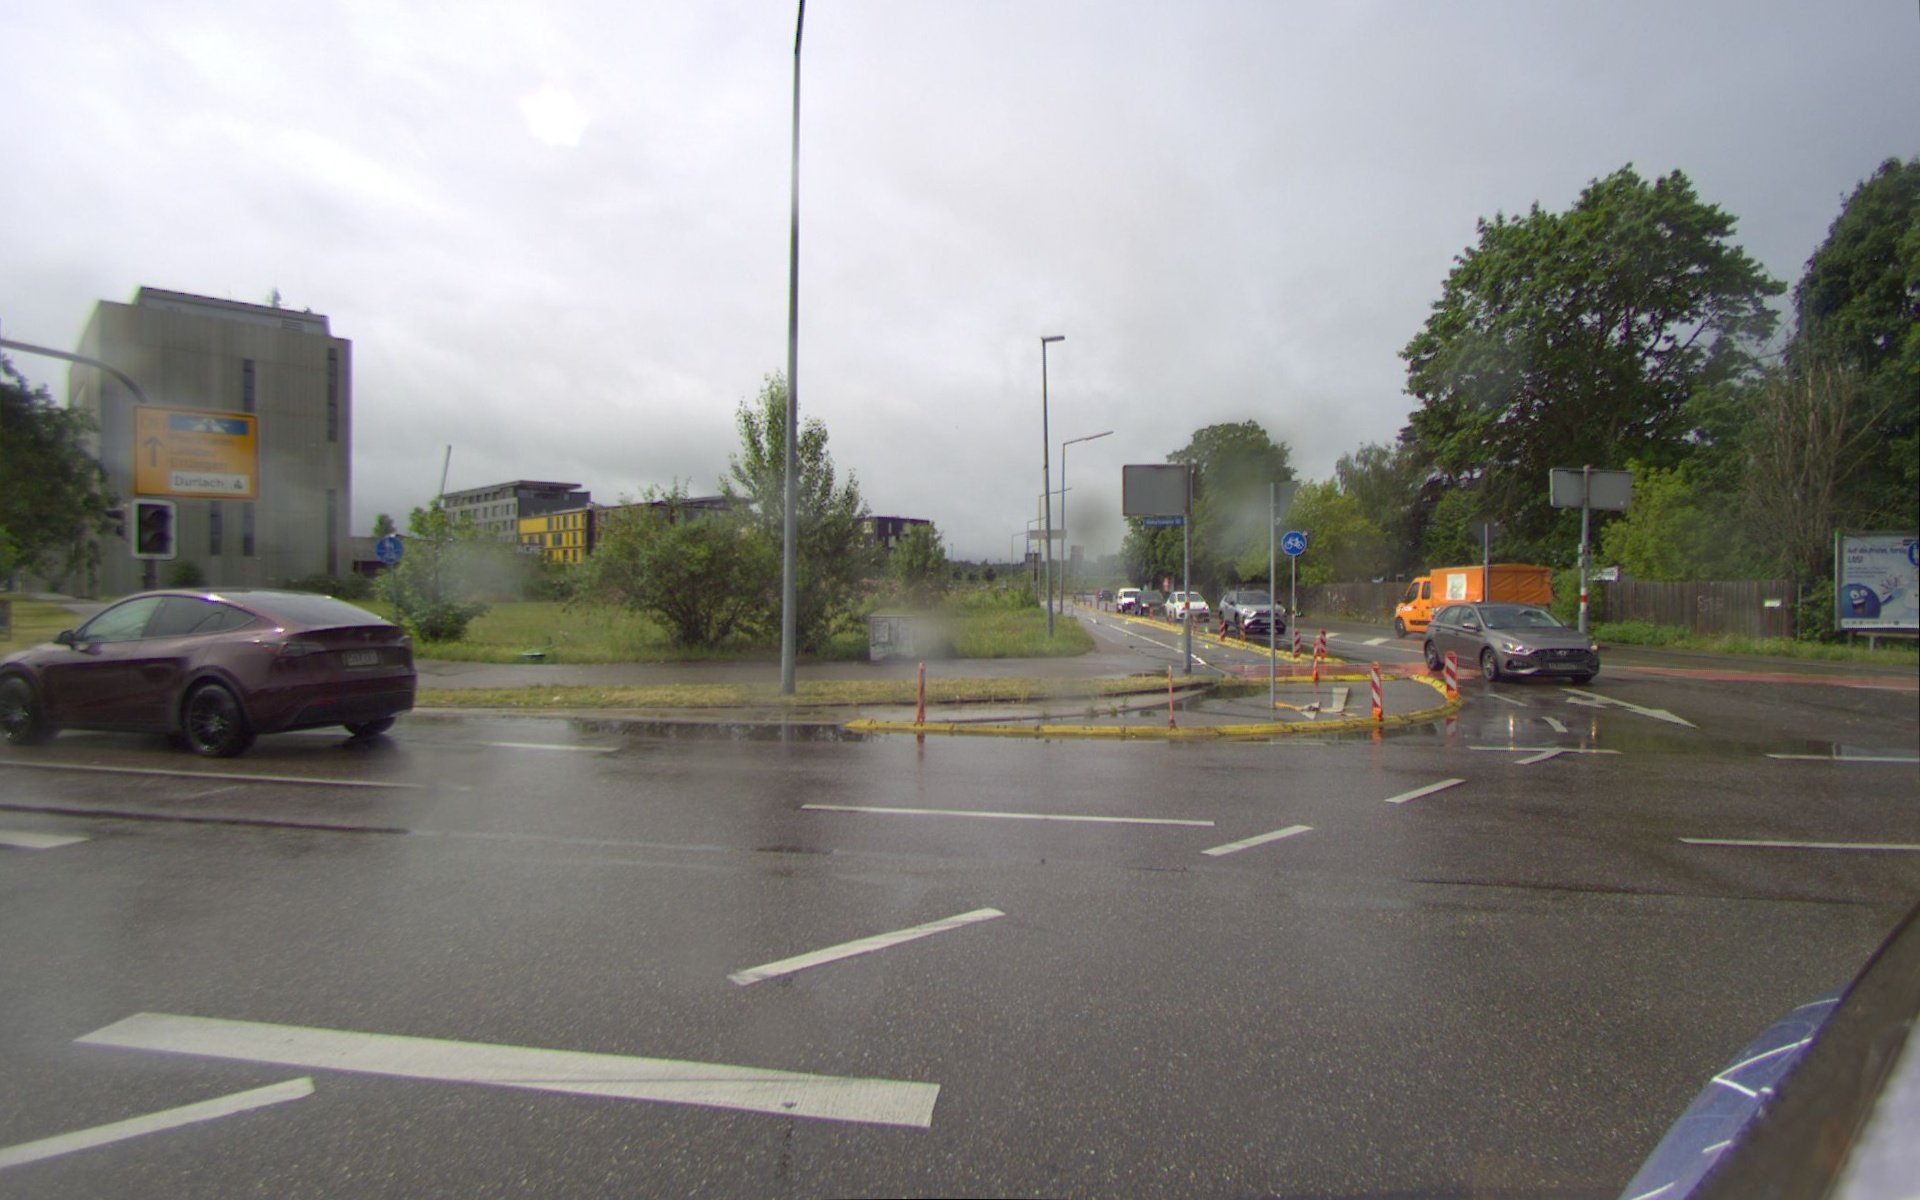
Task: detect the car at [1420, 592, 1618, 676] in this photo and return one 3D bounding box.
[{"bbox_3d":[10.602,0.606,19.562,1.704,1.431,4.123,-1,0,4],"label":"car"}]

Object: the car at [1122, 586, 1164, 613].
[{"bbox_3d":[12.006,-0.047,66.654,1.840,1.684,4.483,-2,0,0],"label":"car"}]

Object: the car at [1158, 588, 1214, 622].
[{"bbox_3d":[11.777,0.239,52.954,1.840,1.684,4.483,-2,0,0],"label":"car"}]

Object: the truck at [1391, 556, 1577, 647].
[{"bbox_3d":[17.455,0.007,34.306,2.414,2.761,6.950,0,0,-3],"label":"truck"}]

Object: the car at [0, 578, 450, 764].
[{"bbox_3d":[-7.981,0.640,10.871,4.438,1.678,1.865,1,0,17],"label":"car"}]

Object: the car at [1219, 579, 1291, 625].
[{"bbox_3d":[11.614,0.069,40.119,1.842,1.684,4.478,-1,0,5],"label":"car"}]

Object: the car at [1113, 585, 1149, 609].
[{"bbox_3d":[12.818,-0.245,76.073,1.840,1.684,4.483,-2,0,0],"label":"car"}]
